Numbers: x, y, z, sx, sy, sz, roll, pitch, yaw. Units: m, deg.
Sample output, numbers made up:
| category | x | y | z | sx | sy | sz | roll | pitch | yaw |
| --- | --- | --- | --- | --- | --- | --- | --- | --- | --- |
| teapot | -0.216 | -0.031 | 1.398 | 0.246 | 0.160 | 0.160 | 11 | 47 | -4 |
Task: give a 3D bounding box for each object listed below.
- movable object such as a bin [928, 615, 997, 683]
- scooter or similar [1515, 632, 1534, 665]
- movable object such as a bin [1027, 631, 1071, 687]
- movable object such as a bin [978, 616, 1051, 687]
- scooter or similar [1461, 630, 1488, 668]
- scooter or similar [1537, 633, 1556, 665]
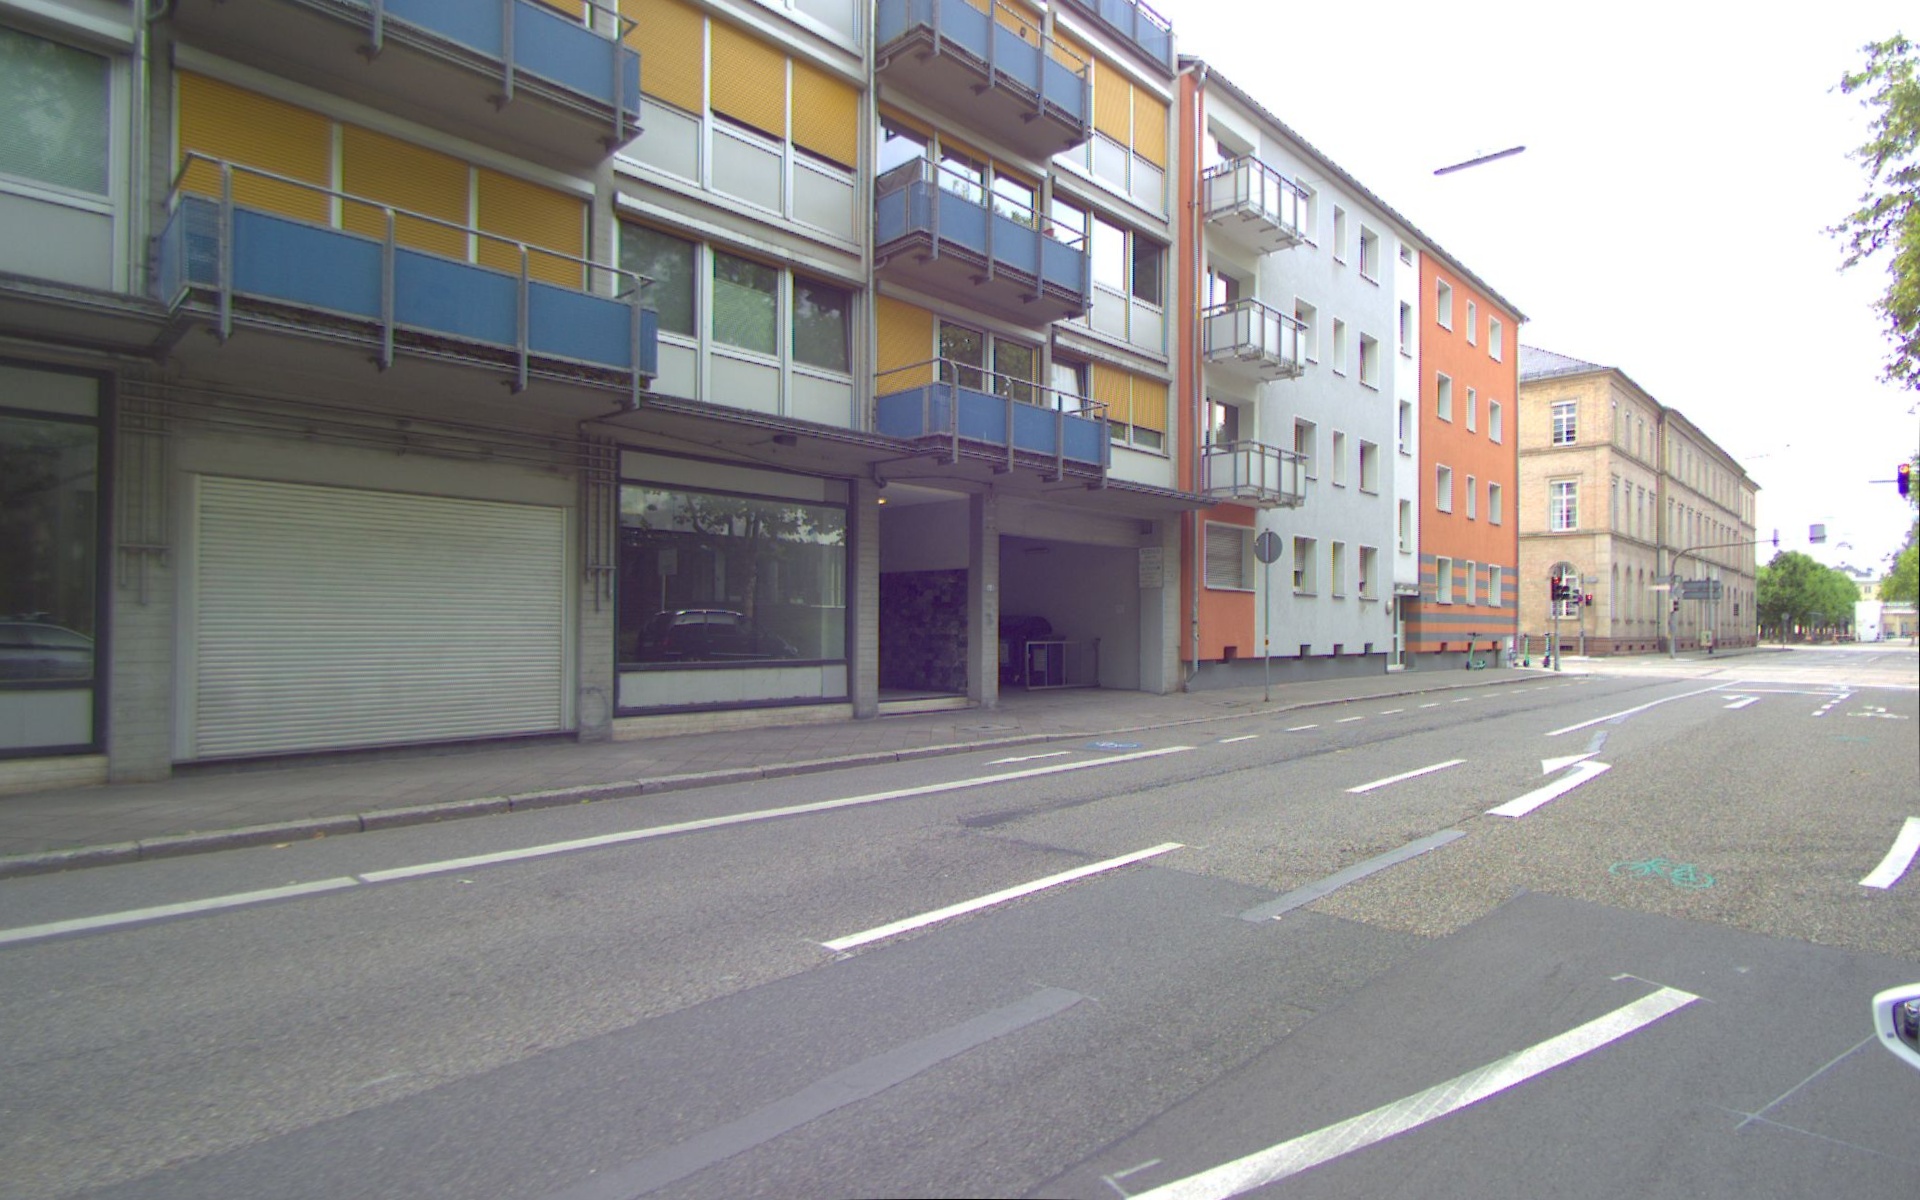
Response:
| category | x | y | z | sx | sy | sz | roll | pitch | yaw |
| --- | --- | --- | --- | --- | --- | --- | --- | --- | --- |
| movable object such as a bin | 0.059 | 1.088 | 22.751 | 1.046 | 1.483 | 1.178 | 1 | -1 | -44 |
| scooter or similar | 20.509 | 1.761 | 36.496 | 0.373 | 1.162 | 1.136 | 0 | -3 | 41 |
| movable object such as a bin | 1.868 | 1.232 | 21.068 | 0.705 | 1.140 | 0.635 | 1 | -1 | -45 |
| movable object such as a bin | 1.176 | 1.094 | 21.742 | 1.046 | 1.483 | 1.178 | 1 | -1 | -44 |
| scooter or similar | 16.357 | 1.566 | 31.912 | 0.374 | 1.199 | 1.381 | -1 | -3 | 44 |
| scooter or similar | 21.294 | 1.784 | 36.467 | 0.373 | 1.159 | 1.136 | 0 | -3 | 41 |
